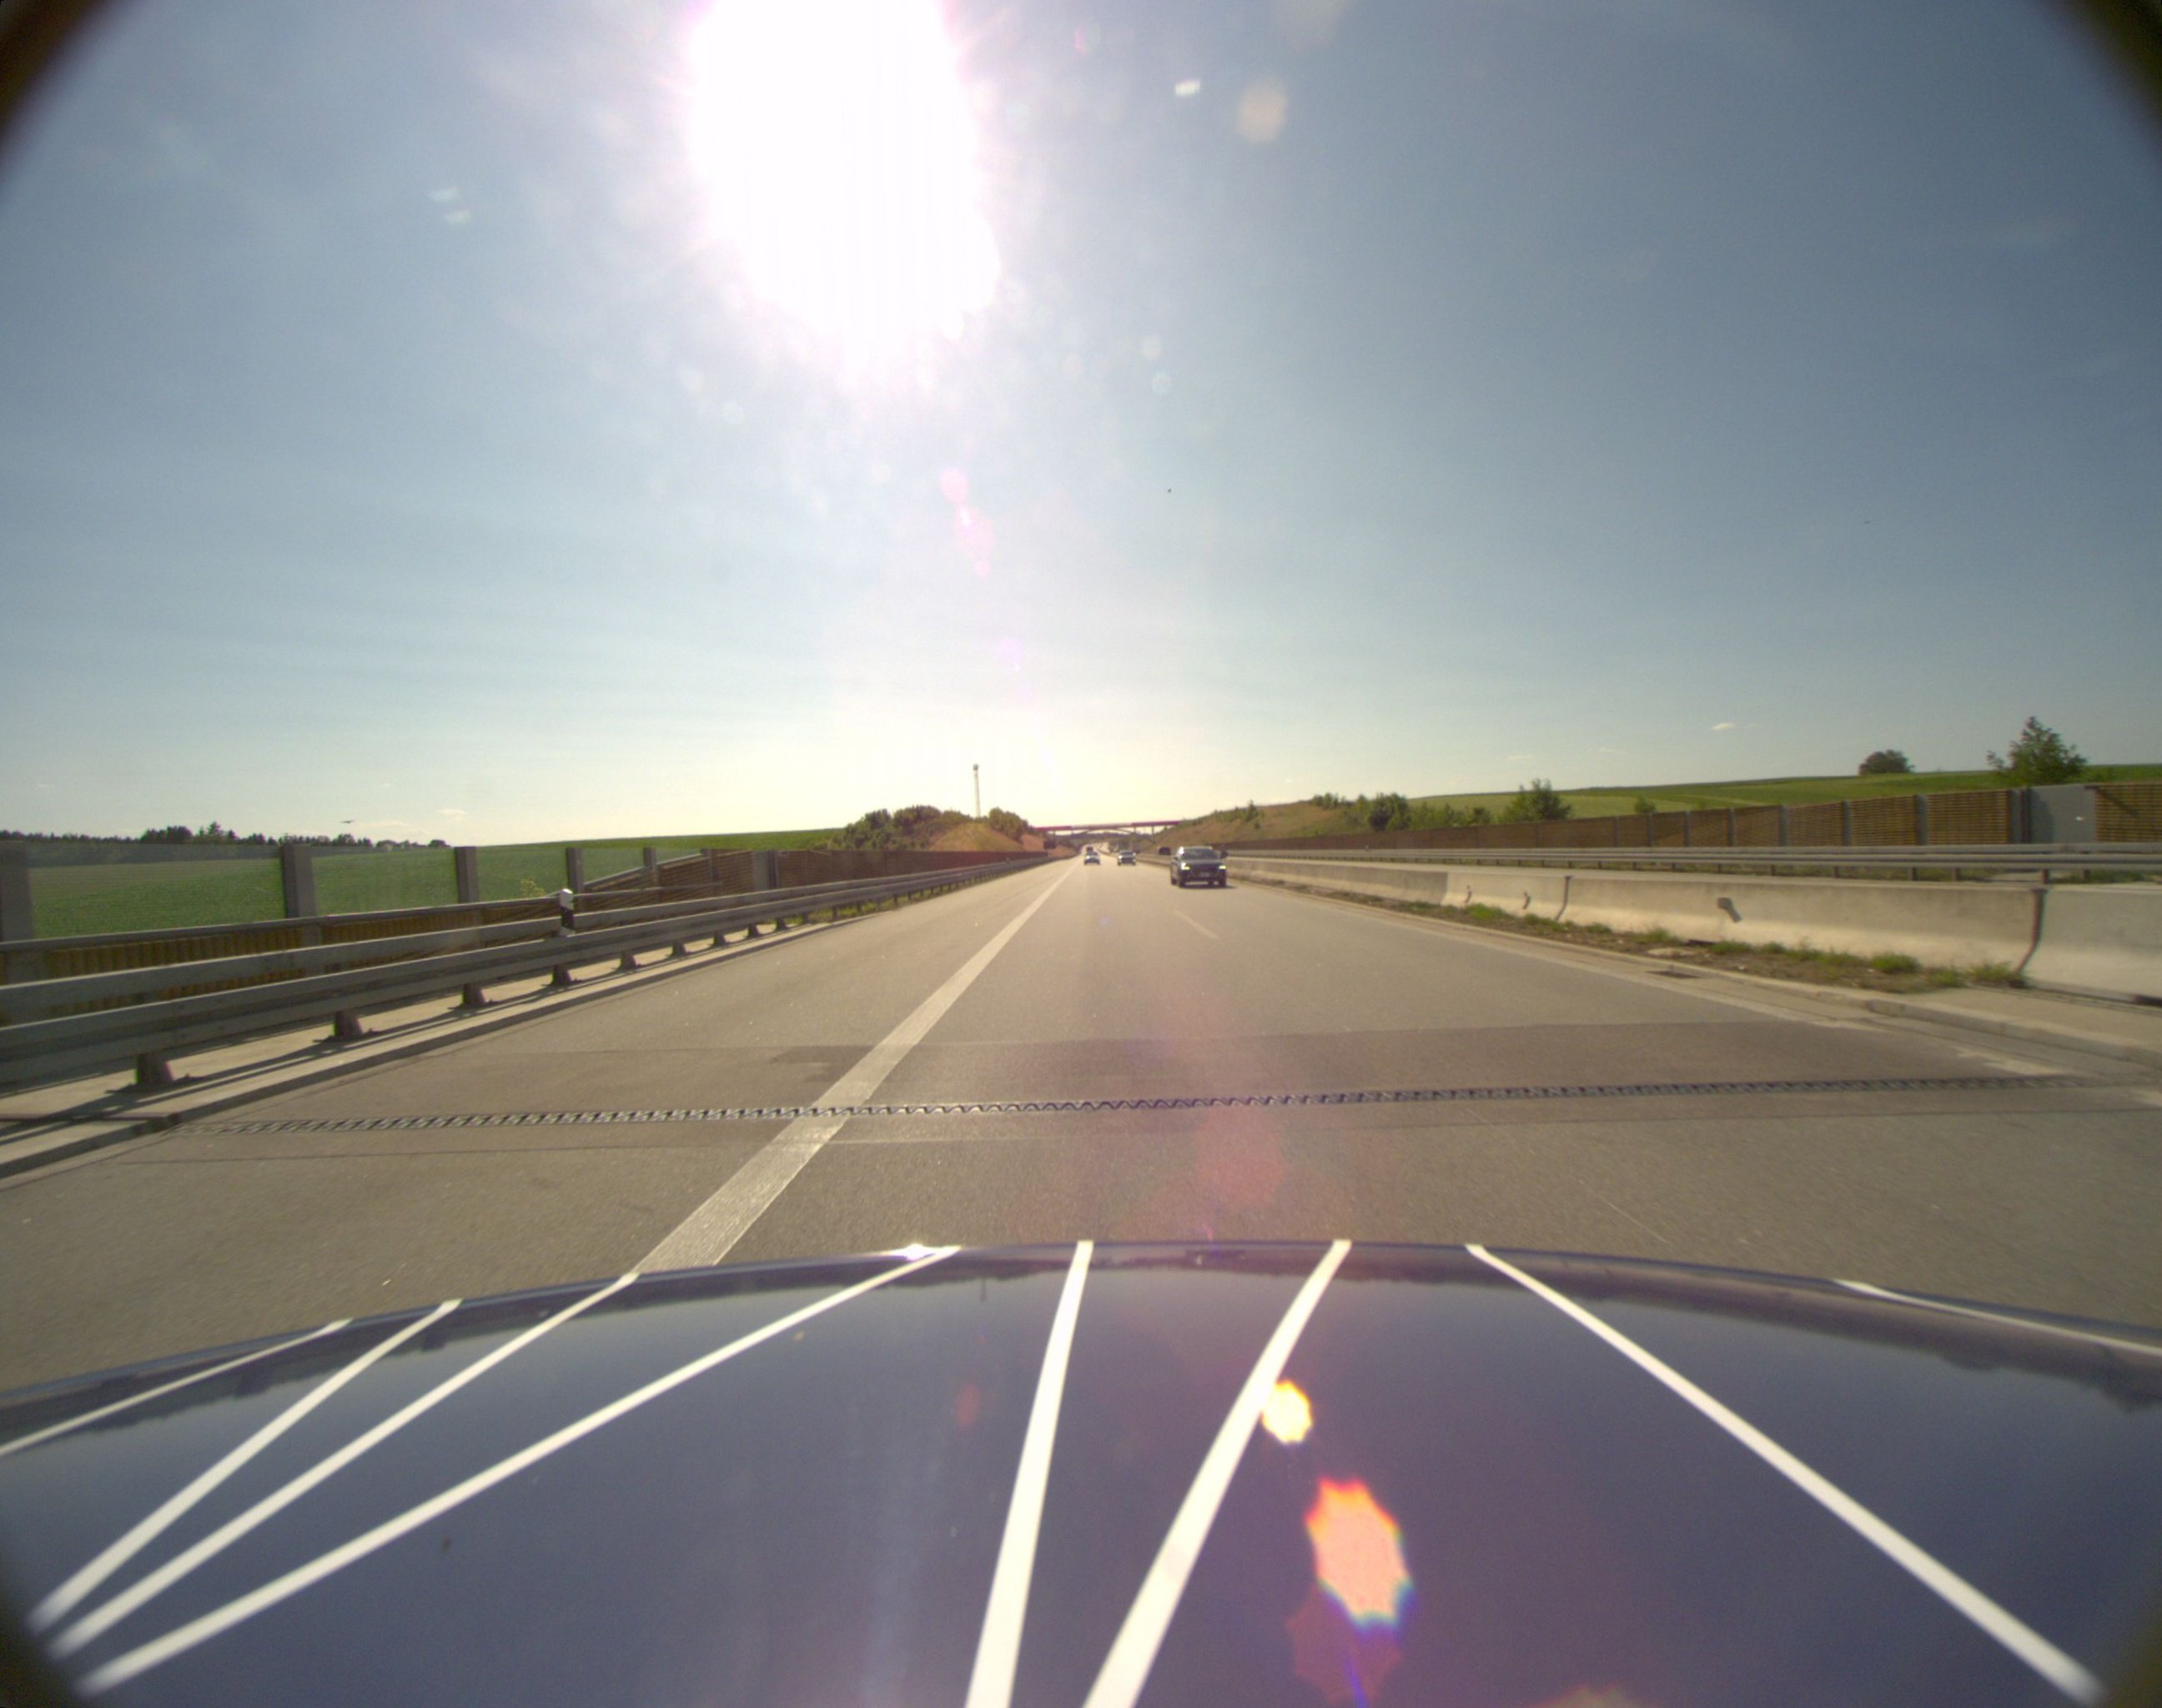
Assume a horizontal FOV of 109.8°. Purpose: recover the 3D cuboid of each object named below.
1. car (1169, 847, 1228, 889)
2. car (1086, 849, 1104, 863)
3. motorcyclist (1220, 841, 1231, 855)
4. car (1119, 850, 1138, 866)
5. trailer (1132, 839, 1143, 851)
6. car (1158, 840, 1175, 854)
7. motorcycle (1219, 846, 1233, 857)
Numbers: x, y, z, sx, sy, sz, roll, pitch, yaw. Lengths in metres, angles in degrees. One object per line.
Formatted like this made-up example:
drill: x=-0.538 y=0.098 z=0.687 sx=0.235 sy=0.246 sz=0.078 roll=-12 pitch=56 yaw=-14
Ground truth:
car: x=4.759 y=0.507 z=31.378 sx=1.726 sy=1.578 sz=5.222 roll=-1 pitch=1 yaw=1
car: x=1.623 y=0.237 z=85.490 sx=1.909 sy=1.449 sz=4.376 roll=-1 pitch=1 yaw=2
motorcyclist: x=16.471 y=-0.721 z=86.562 sx=1.015 sy=1.555 sz=1.428 roll=-1 pitch=1 yaw=1
car: x=4.955 y=0.379 z=79.493 sx=1.776 sy=1.560 sz=4.988 roll=-1 pitch=1 yaw=1
trailer: x=18.819 y=-3.062 z=252.594 sx=2.645 sy=3.853 sz=13.733 roll=-1 pitch=1 yaw=0
car: x=12.937 y=-1.034 z=115.773 sx=1.998 sy=2.002 sz=5.737 roll=-1 pitch=1 yaw=1
motorcycle: x=16.478 y=-0.308 z=86.520 sx=1.015 sy=1.160 sz=2.868 roll=-1 pitch=0 yaw=1
